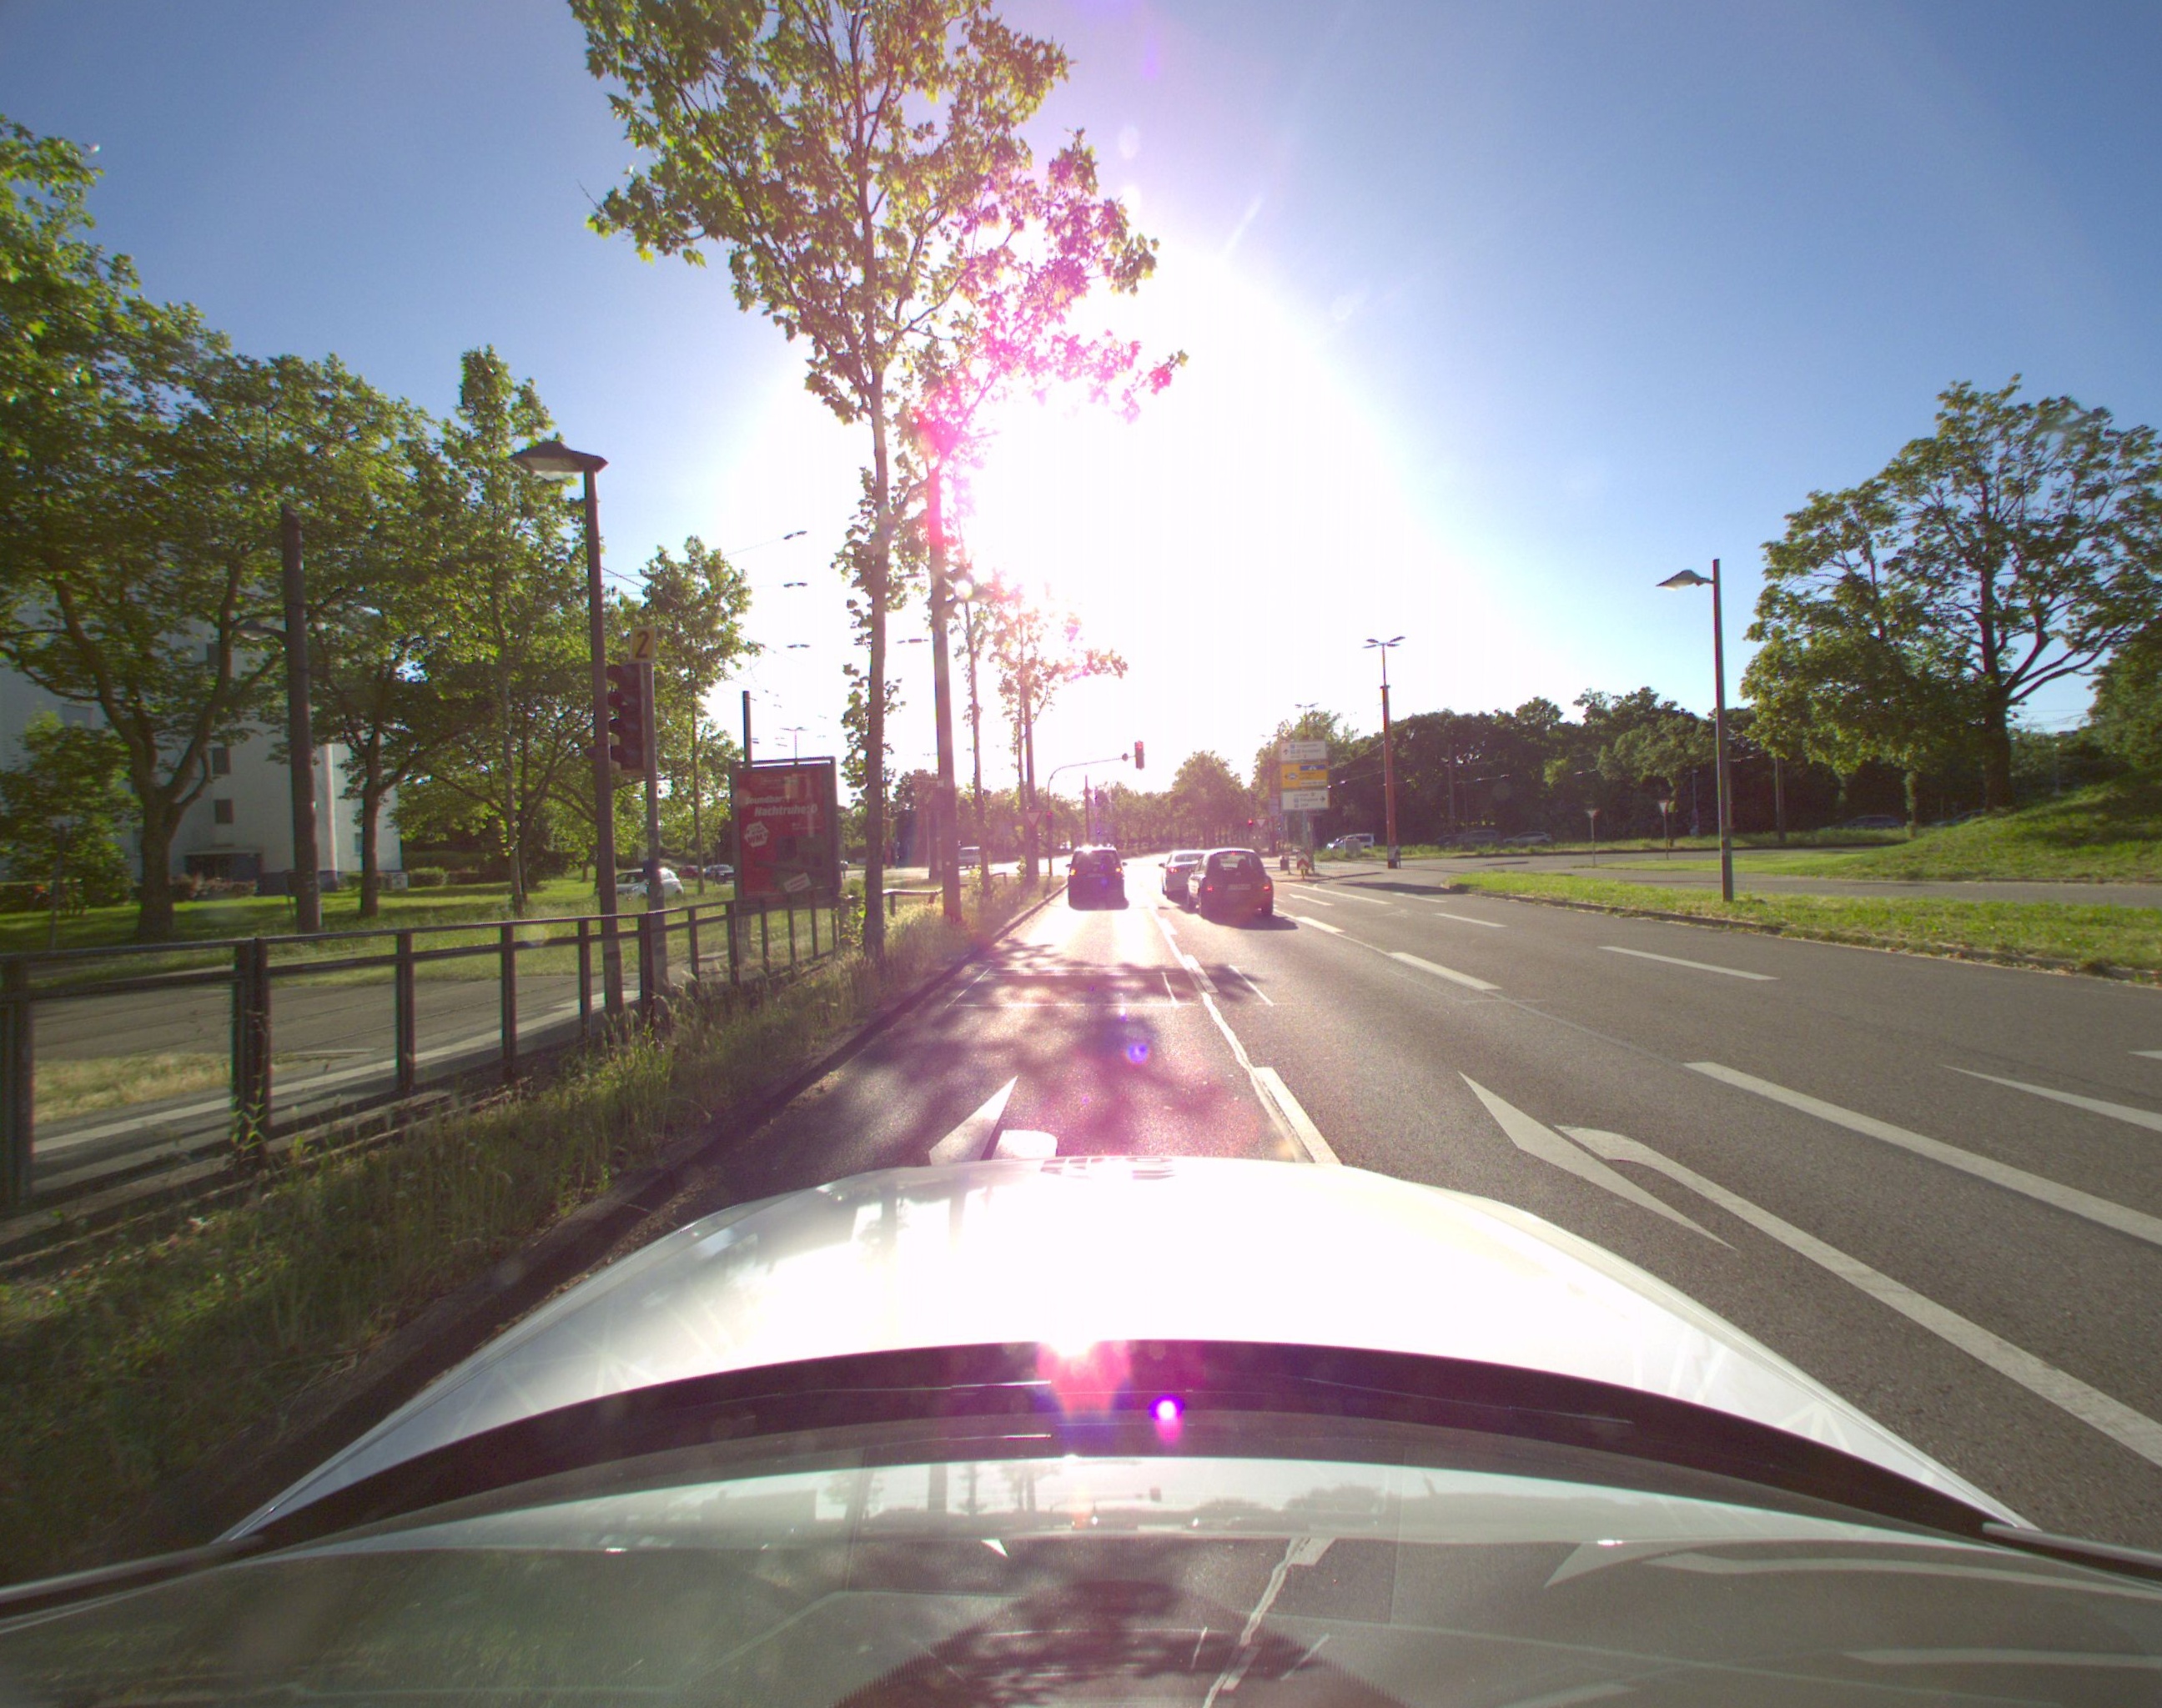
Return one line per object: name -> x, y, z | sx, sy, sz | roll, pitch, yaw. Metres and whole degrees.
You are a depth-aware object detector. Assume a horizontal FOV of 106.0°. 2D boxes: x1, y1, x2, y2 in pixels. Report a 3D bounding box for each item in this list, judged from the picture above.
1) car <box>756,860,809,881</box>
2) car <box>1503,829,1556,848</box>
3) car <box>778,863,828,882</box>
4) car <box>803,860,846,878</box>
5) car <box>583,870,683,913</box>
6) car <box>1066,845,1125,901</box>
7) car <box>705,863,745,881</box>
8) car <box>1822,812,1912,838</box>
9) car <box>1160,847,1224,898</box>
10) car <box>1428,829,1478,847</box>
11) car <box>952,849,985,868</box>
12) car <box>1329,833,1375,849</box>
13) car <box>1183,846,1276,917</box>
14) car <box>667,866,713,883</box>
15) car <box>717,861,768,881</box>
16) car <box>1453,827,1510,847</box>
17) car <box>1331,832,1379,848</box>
car -> -28.564, 1.571, 77.857 | 4.447, 1.610, 1.910 | -3, 2, 20
car -> 38.777, -1.309, 70.522 | 3.949, 1.495, 1.872 | -1, 0, 28
car -> -27.667, 1.820, 81.035 | 4.447, 1.610, 1.910 | -3, 2, 20
car -> -27.542, 1.575, 87.553 | 3.953, 1.620, 1.910 | -3, 2, 20
car -> -16.932, 1.387, 31.005 | 1.625, 1.449, 3.720 | -1, 0, 2
car -> 0.468, 0.557, 25.660 | 1.704, 1.603, 3.350 | -1, 0, 1
car -> -31.558, 1.604, 72.216 | 1.911, 1.543, 4.445 | -1, 0, -42
car -> 55.928, -2.024, 58.023 | 4.220, 1.627, 1.941 | -1, 0, 28
car -> 3.481, 0.551, 26.087 | 1.671, 1.475, 4.134 | -1, 0, 3
car -> 33.502, -1.429, 73.393 | 3.949, 1.561, 1.911 | -1, 0, 28
car -> -11.056, 0.394, 80.329 | 1.811, 1.780, 4.581 | -1, 0, 11
car -> 25.865, -1.235, 77.747 | 3.950, 1.476, 1.800 | -1, 0, 27
car -> 3.457, 0.574, 19.532 | 1.633, 1.494, 3.504 | -1, 1, 1
car -> -40.282, 2.082, 83.884 | 4.000, 1.436, 1.825 | -3, 2, 20
car -> -33.369, 1.677, 80.323 | 4.447, 1.610, 1.910 | -3, 2, 20
car -> 34.190, -1.450, 69.540 | 4.311, 1.559, 1.883 | -1, 0, 27
car -> 25.078, -1.307, 74.533 | 3.949, 1.338, 1.739 | -1, 0, 28
